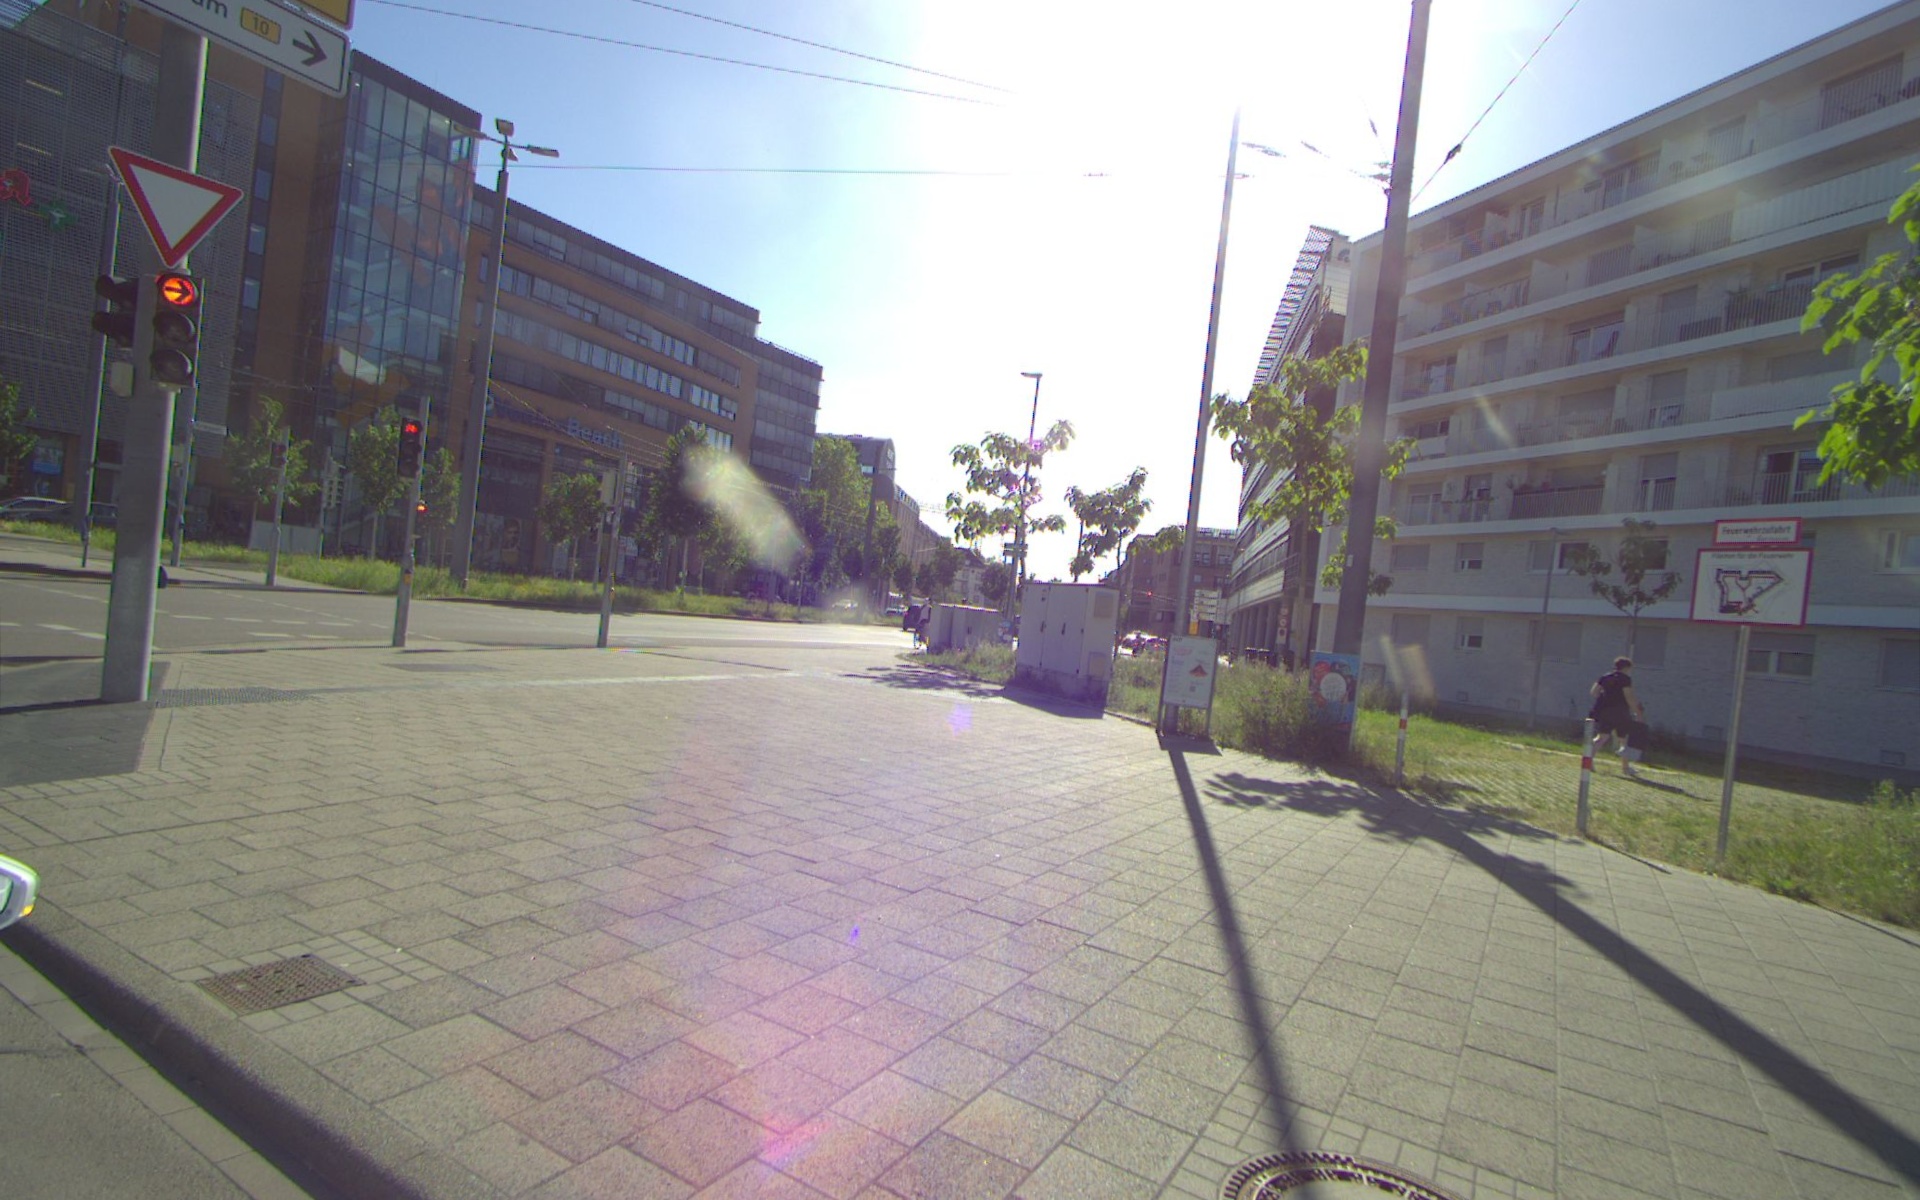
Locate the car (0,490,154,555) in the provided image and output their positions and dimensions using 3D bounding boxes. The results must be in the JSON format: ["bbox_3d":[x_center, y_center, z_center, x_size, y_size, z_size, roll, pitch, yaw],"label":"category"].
[{"bbox_3d":[-32.073,-2.768,36.330,1.810,1.484,4.161,6,-5,30],"label":"car"}]

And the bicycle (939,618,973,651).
[{"bbox_3d":[-0.141,1.363,39.525,0.576,1.150,1.761,7,-2,22],"label":"bicycle"}]

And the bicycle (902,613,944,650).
[{"bbox_3d":[-1.299,1.141,35.668,0.571,1.150,1.907,7,-2,25],"label":"bicycle"}]

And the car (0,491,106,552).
[{"bbox_3d":[-35.133,-3.047,37.656,1.810,1.661,4.303,6,-5,31],"label":"car"}]

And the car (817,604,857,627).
[{"bbox_3d":[-11.816,1.494,97.069,1.807,1.600,4.310,7,-5,23],"label":"car"}]

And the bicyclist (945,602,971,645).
[{"bbox_3d":[-0.062,0.920,39.603,0.563,1.585,0.886,7,-1,22],"label":"bicyclist"}]

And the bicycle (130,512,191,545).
[{"bbox_3d":[-40.521,-3.609,51.037,0.595,1.310,2.260,7,-2,30],"label":"bicycle"}]

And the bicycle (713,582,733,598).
[{"bbox_3d":[-21.869,-0.918,92.968,0.559,1.232,1.859,9,1,31],"label":"bicycle"}]

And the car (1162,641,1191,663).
[{"bbox_3d":[17.916,4.321,83.264,1.677,1.515,4.281,7,-2,19],"label":"car"}]

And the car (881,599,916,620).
[{"bbox_3d":[-6.893,1.130,113.657,1.809,1.885,4.336,6,-1,28],"label":"car"}]

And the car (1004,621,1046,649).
[{"bbox_3d":[4.526,2.430,69.224,1.616,1.665,4.200,7,-1,20],"label":"car"}]

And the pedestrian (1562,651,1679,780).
[{"bbox_3d":[9.723,1.690,14.843,0.970,1.719,0.842,6,2,-16],"label":"pedestrian"}]

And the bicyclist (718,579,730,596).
[{"bbox_3d":[-21.844,-1.159,92.932,0.556,1.404,0.754,9,2,31],"label":"bicyclist"}]

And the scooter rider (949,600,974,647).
[{"bbox_3d":[0.055,0.994,42.048,0.563,1.894,0.787,7,-1,22],"label":"scooter rider"}]

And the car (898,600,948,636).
[{"bbox_3d":[-2.029,1.038,56.090,1.615,1.665,3.704,7,-1,15],"label":"car"}]

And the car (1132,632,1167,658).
[{"bbox_3d":[13.454,3.212,71.172,1.677,1.515,4.281,7,-2,19],"label":"car"}]

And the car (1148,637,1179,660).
[{"bbox_3d":[15.690,3.753,77.381,1.677,1.515,4.281,7,-2,19],"label":"car"}]

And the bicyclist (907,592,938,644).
[{"bbox_3d":[-1.311,0.633,35.526,0.563,1.727,0.885,7,-1,25],"label":"bicyclist"}]
